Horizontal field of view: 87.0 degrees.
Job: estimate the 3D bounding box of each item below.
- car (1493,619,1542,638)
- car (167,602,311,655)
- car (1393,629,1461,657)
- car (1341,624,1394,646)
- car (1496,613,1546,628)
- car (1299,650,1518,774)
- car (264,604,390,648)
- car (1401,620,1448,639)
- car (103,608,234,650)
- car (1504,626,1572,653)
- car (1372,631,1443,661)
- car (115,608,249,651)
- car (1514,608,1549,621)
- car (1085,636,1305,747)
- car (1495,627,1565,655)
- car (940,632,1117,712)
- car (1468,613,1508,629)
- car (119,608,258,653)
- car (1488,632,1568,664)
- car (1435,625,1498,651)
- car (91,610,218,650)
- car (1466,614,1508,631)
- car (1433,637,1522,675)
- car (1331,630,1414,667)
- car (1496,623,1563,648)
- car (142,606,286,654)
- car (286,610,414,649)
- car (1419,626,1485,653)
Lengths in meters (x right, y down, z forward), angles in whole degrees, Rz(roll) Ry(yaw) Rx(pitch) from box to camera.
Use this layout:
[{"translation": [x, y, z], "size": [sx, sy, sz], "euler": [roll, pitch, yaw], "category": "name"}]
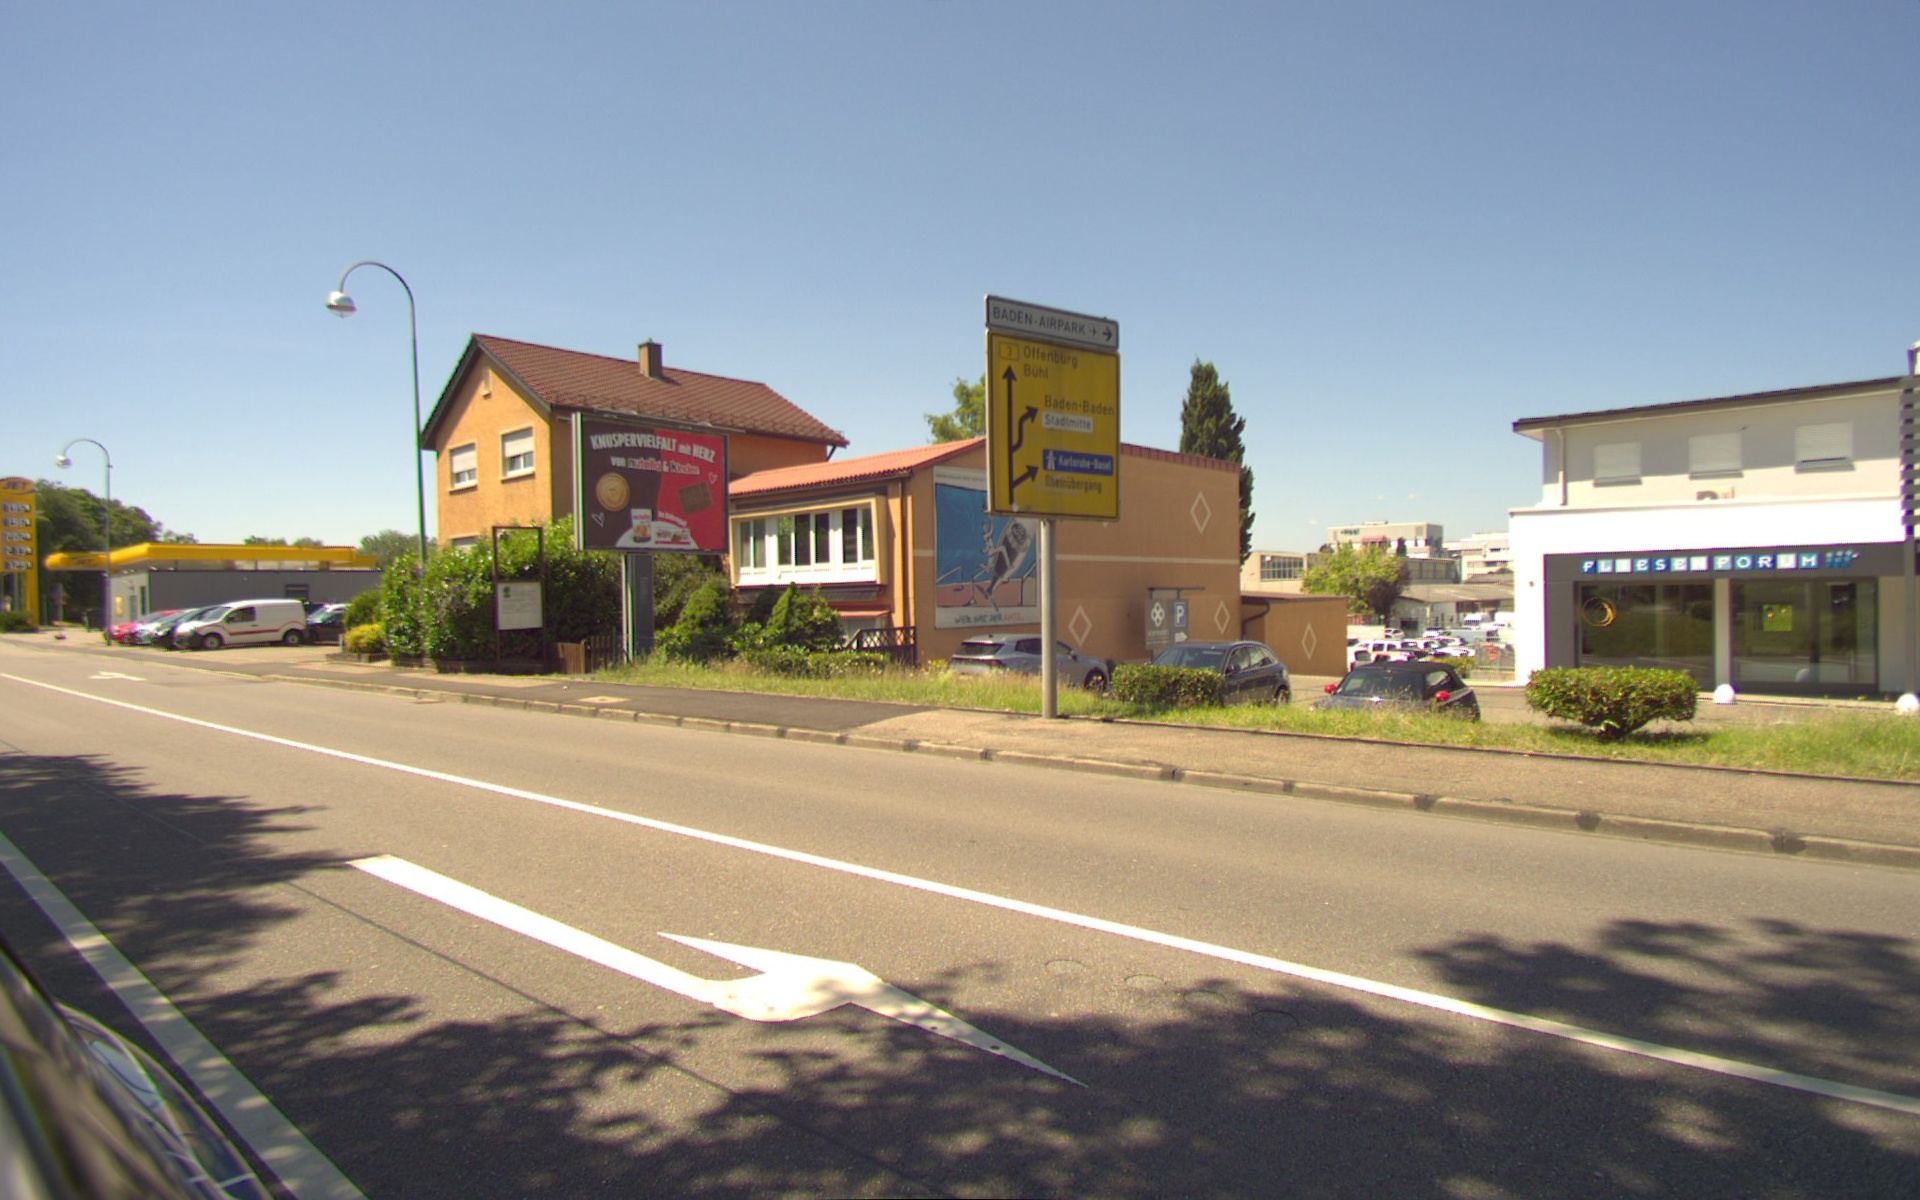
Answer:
[{"translation": [53.071, 2.680, 96.330], "size": [3.774, 1.768, 1.707], "euler": [-1, -1, 44], "category": "car"}, {"translation": [-27.526, 1.053, 38.751], "size": [1.871, 1.883, 4.143], "euler": [-1, -1, 35], "category": "car"}, {"translation": [31.108, 2.839, 67.428], "size": [3.774, 1.768, 1.707], "euler": [-1, -1, 44], "category": "car"}, {"translation": [34.014, 2.936, 84.556], "size": [3.774, 1.768, 1.707], "euler": [-1, -1, 44], "category": "car"}, {"translation": [71.940, 2.621, 129.746], "size": [5.303, 1.768, 2.037], "euler": [-1, -1, 44], "category": "car"}, {"translation": [7.212, 1.653, 16.094], "size": [4.039, 1.544, 1.772], "euler": [0, -1, -44], "category": "car"}, {"translation": [-27.957, 1.108, 44.808], "size": [1.871, 1.839, 4.351], "euler": [-1, -1, 35], "category": "car"}, {"translation": [44.716, 2.830, 97.524], "size": [3.774, 1.768, 1.707], "euler": [-1, 2, 44], "category": "car"}, {"translation": [-35.929, 1.283, 46.021], "size": [1.871, 1.773, 4.351], "euler": [-1, -1, 35], "category": "car"}, {"translation": [39.775, 2.681, 69.694], "size": [3.774, 1.768, 1.707], "euler": [-1, -1, 44], "category": "car"}, {"translation": [28.300, 2.897, 64.042], "size": [3.774, 1.768, 1.707], "euler": [-1, -1, 44], "category": "car"}, {"translation": [-34.159, 1.263, 44.556], "size": [1.871, 1.773, 4.351], "euler": [-1, -1, 35], "category": "car"}, {"translation": [76.877, 1.954, 136.120], "size": [3.774, 1.768, 1.707], "euler": [-1, -1, 44], "category": "car"}, {"translation": [4.391, 1.553, 18.490], "size": [4.462, 1.654, 1.772], "euler": [0, -1, -44], "category": "car"}, {"translation": [37.958, 2.701, 67.418], "size": [3.774, 1.768, 1.707], "euler": [-1, -1, 44], "category": "car"}, {"translation": [1.669, 1.602, 23.737], "size": [4.165, 1.621, 1.773], "euler": [0, -1, -42], "category": "car"}, {"translation": [61.522, 2.462, 117.884], "size": [3.774, 1.768, 1.707], "euler": [-1, -1, 44], "category": "car"}, {"translation": [-32.654, 1.247, 42.968], "size": [1.871, 1.773, 4.351], "euler": [-1, -1, 35], "category": "car"}, {"translation": [33.175, 2.769, 59.149], "size": [3.774, 1.768, 1.707], "euler": [-1, -1, 44], "category": "car"}, {"translation": [36.539, 2.723, 73.053], "size": [3.774, 1.768, 1.707], "euler": [-1, -1, 44], "category": "car"}, {"translation": [-37.843, 1.370, 47.652], "size": [1.871, 1.773, 4.351], "euler": [-1, -1, 35], "category": "car"}, {"translation": [58.500, 2.483, 112.324], "size": [3.774, 1.768, 1.707], "euler": [-1, -1, 44], "category": "car"}, {"translation": [26.741, 2.858, 52.361], "size": [3.774, 1.768, 1.707], "euler": [-1, -1, 44], "category": "car"}, {"translation": [23.938, 2.763, 58.756], "size": [4.001, 2.029, 1.971], "euler": [-1, -1, 44], "category": "car"}, {"translation": [42.538, 2.638, 75.655], "size": [4.055, 1.768, 1.707], "euler": [-1, -1, 44], "category": "car"}, {"translation": [-29.339, 1.138, 39.923], "size": [1.871, 1.773, 4.198], "euler": [-1, -1, 35], "category": "car"}, {"translation": [-26.157, 1.242, 43.507], "size": [1.871, 1.575, 4.351], "euler": [-1, -1, 35], "category": "car"}, {"translation": [34.394, 2.748, 70.816], "size": [3.774, 1.768, 1.707], "euler": [-1, -1, 44], "category": "car"}]
